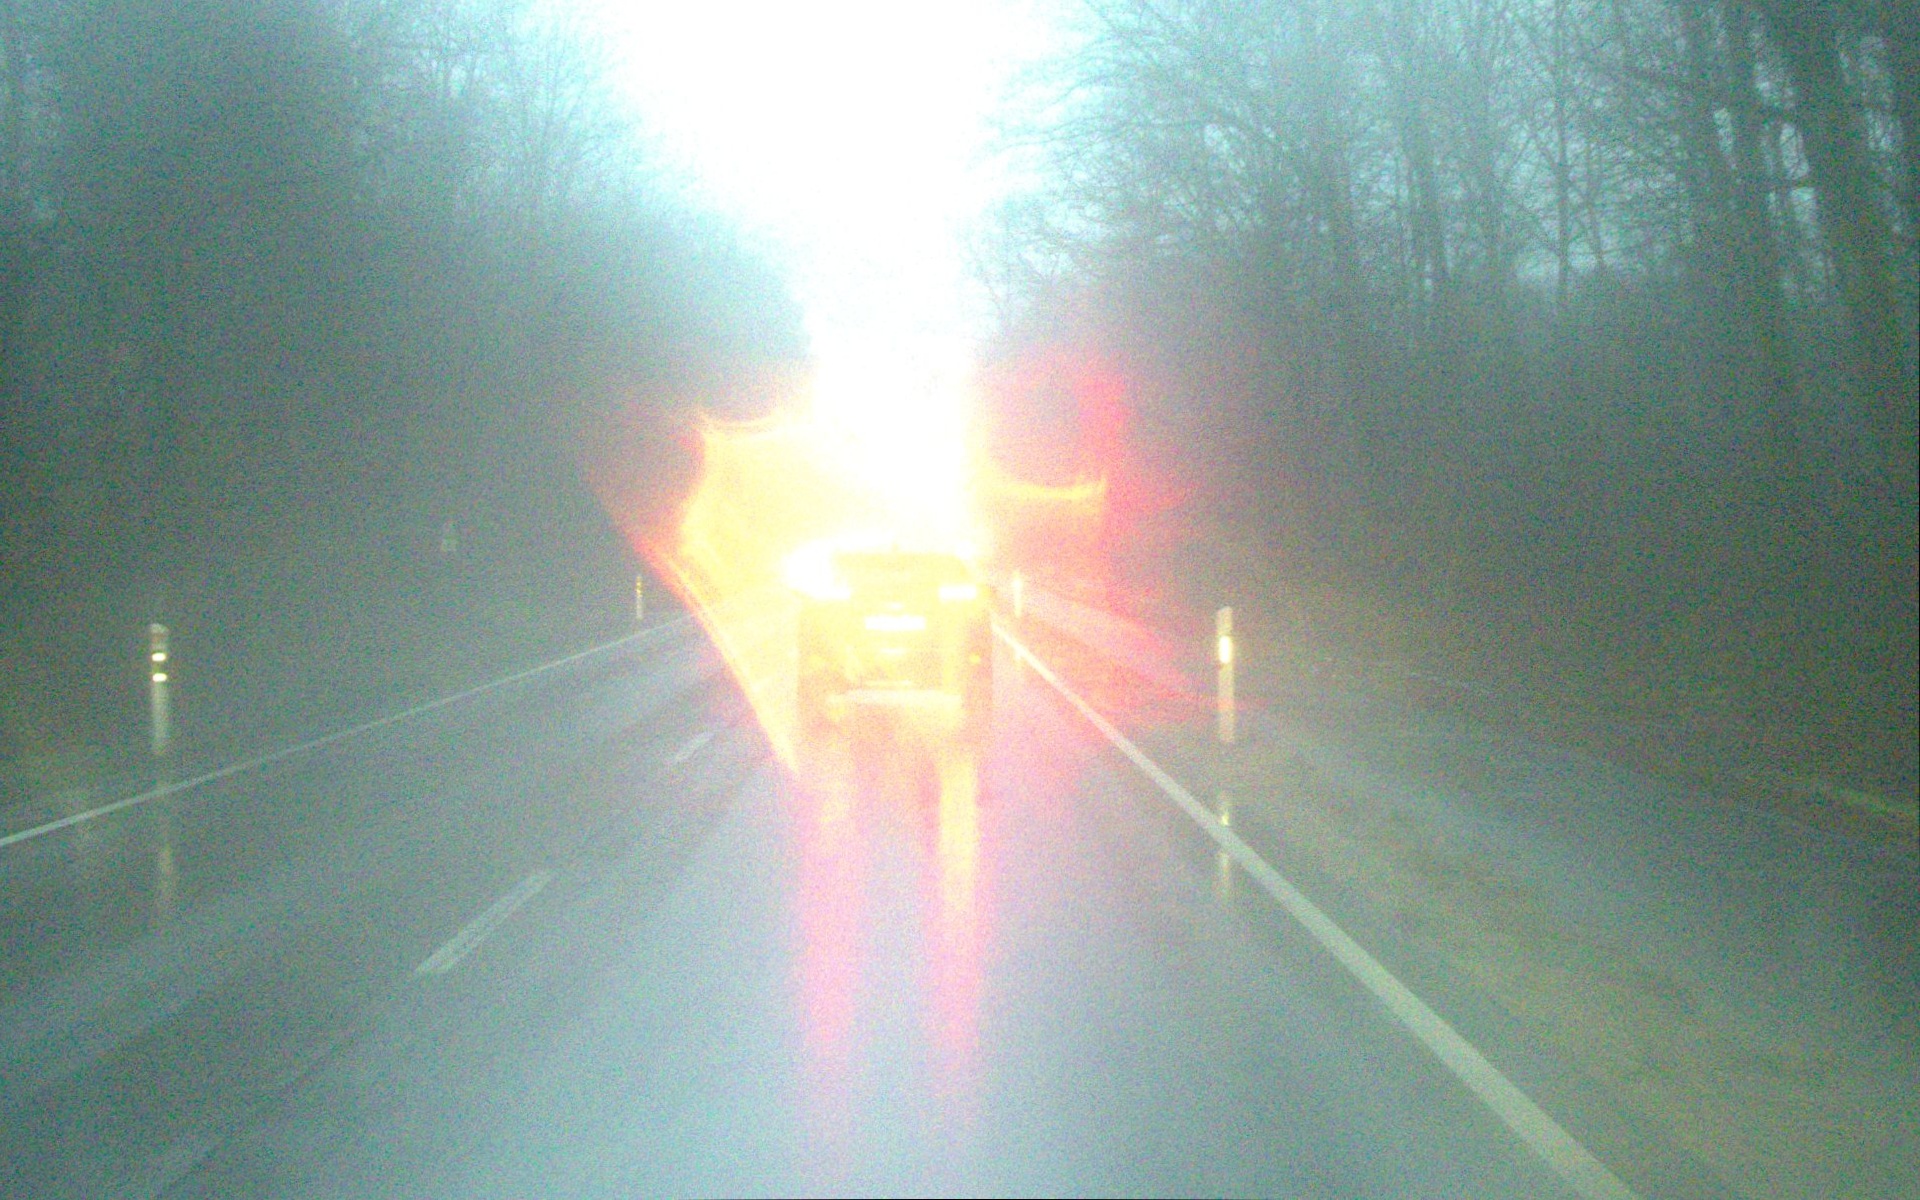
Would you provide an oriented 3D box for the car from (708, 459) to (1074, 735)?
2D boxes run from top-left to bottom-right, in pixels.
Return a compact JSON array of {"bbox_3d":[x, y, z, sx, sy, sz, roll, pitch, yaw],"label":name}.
[{"bbox_3d":[-0.604,-0.067,33.433,3.183,2.378,6.636,1,1,0],"label":"car"}]
